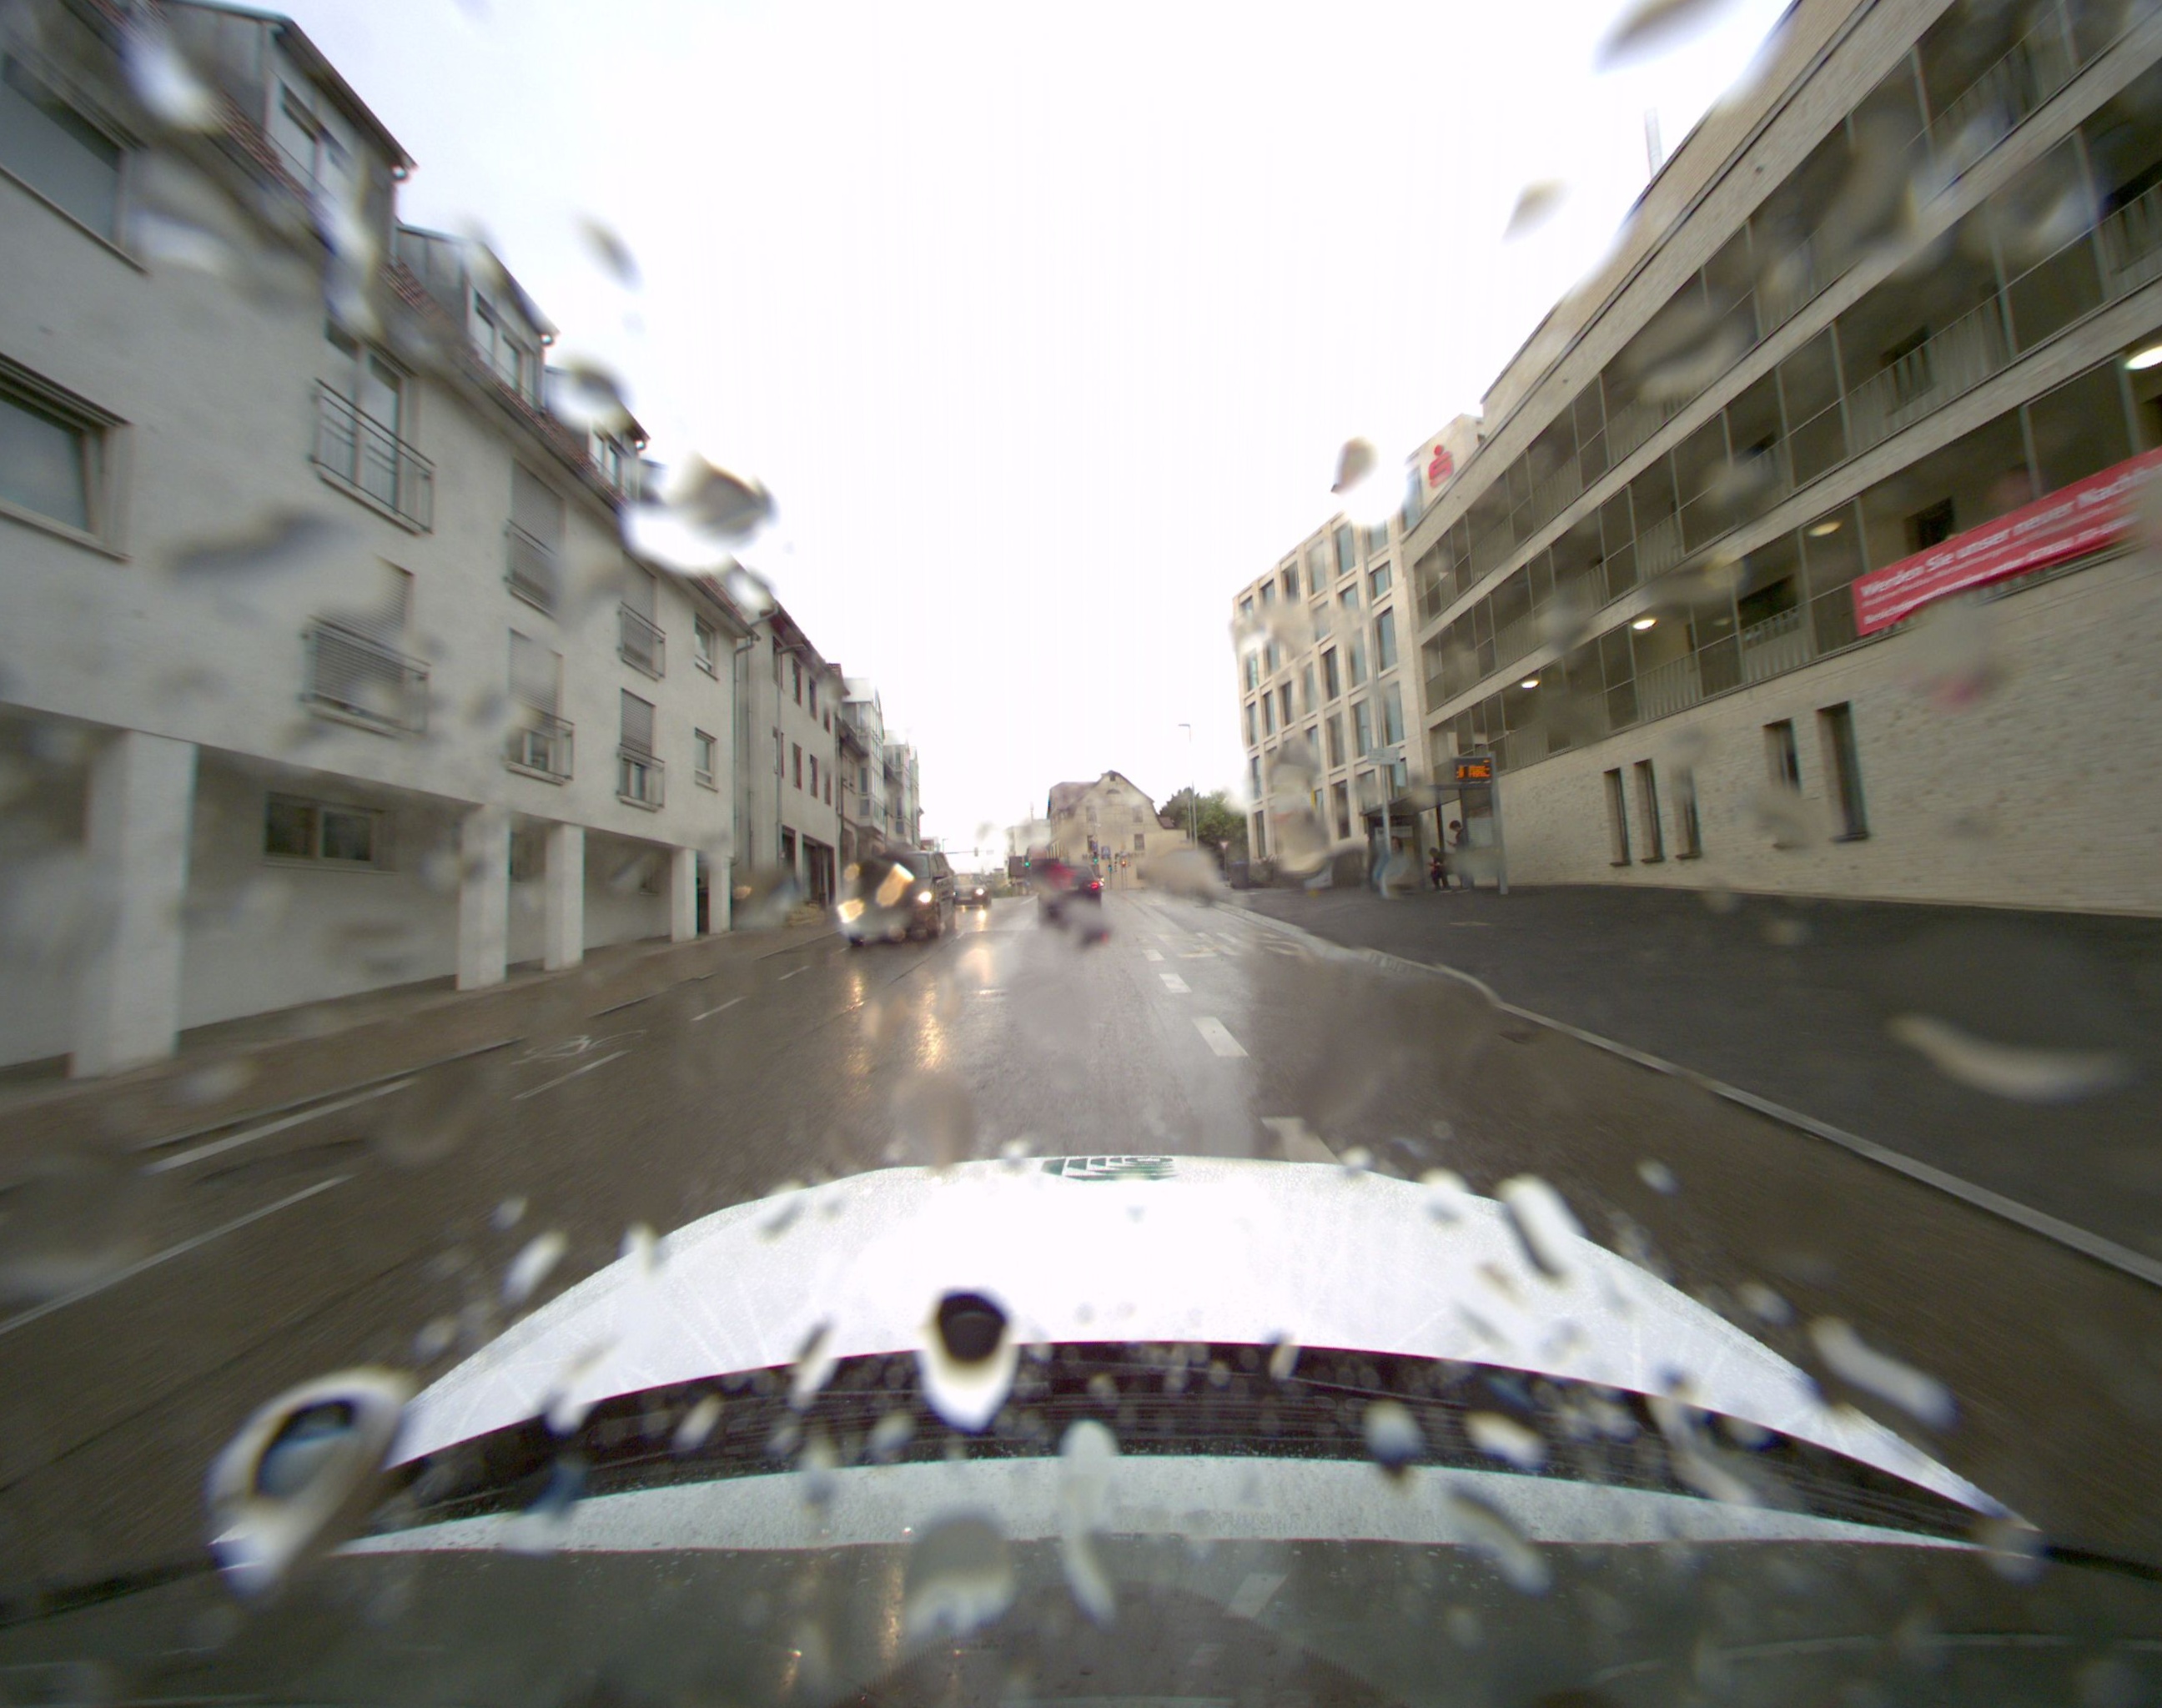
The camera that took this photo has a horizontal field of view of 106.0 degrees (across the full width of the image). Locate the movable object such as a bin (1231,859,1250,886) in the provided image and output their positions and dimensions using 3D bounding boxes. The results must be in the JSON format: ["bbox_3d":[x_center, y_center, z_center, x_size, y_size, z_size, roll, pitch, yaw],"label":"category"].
[{"bbox_3d":[6.401,0.736,32.637,0.593,1.062,0.579,-3,-1,1],"label":"movable object such as a bin"}]

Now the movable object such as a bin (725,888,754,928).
[{"bbox_3d":[-9.059,1.417,21.620,0.507,1.006,0.584,-2,-1,-3],"label":"movable object such as a bin"}]

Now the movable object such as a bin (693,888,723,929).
[{"bbox_3d":[-9.813,1.426,21.443,0.507,1.006,0.584,-2,-1,-3],"label":"movable object such as a bin"}]

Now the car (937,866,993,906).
[{"bbox_3d":[-4.578,1.240,32.655,1.683,1.444,3.908,-2,-1,-1],"label":"car"}]

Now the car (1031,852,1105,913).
[{"bbox_3d":[-0.381,0.799,24.038,1.939,1.567,4.414,-2,-1,-1],"label":"car"}]

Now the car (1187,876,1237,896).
[{"bbox_3d":[12.620,3.093,78.649,4.310,1.505,1.769,-4,-6,-15],"label":"car"}]

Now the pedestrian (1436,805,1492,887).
[{"bbox_3d":[9.467,-0.179,20.165,0.779,1.940,1.021,-4,-1,1],"label":"pedestrian"}]

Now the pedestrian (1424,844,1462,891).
[{"bbox_3d":[9.544,0.352,21.488,0.669,1.162,0.635,-4,-1,1],"label":"pedestrian"}]

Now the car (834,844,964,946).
[{"bbox_3d":[-4.006,0.851,18.789,1.927,1.907,5.038,-3,-1,-2],"label":"car"}]
